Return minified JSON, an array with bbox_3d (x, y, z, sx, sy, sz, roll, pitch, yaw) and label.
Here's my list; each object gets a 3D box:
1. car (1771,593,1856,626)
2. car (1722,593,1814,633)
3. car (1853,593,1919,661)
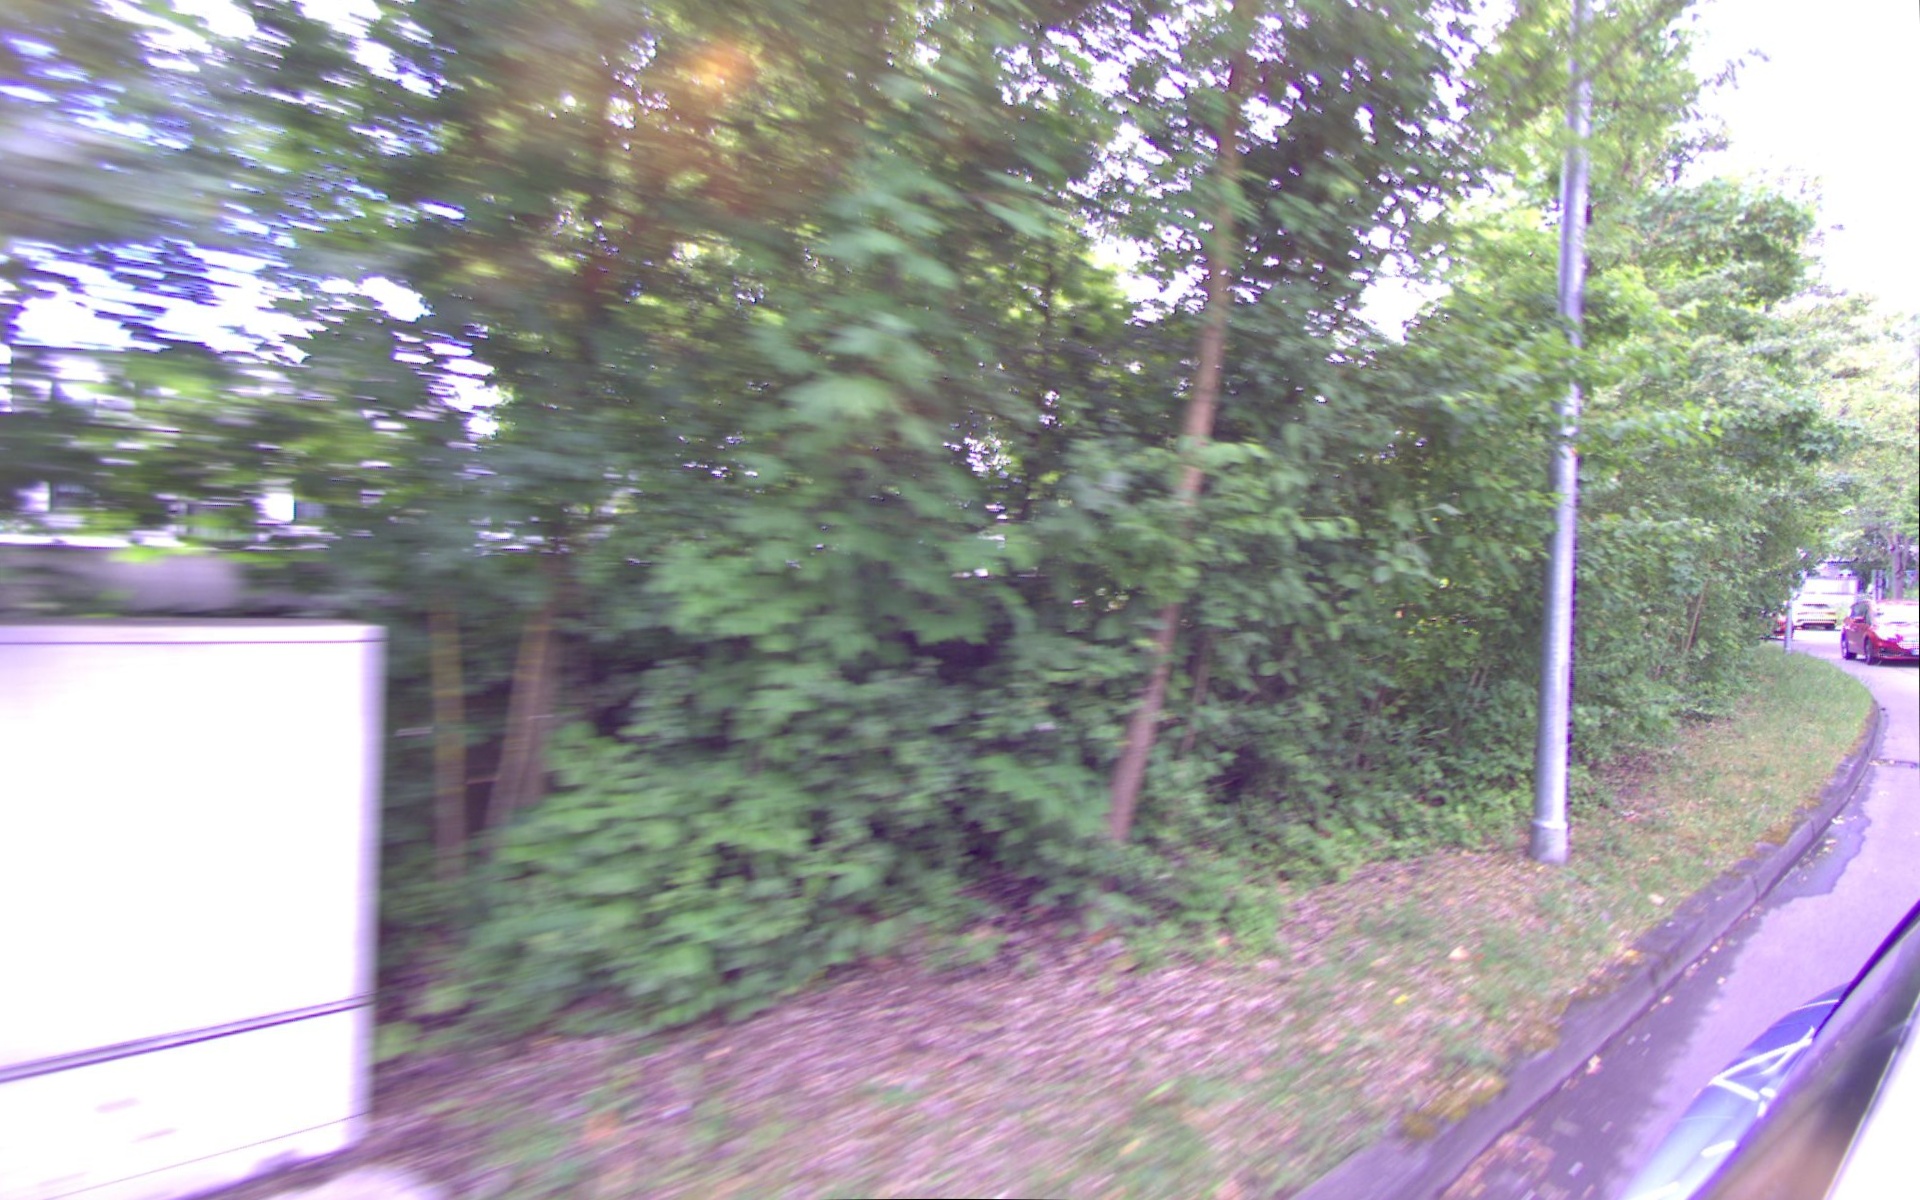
[{"bbox_3d":[41.477,0.413,49.281,1.830,1.510,3.974,1,1,20],"label":"car"},{"bbox_3d":[32.927,0.501,41.364,1.927,1.551,4.053,0,0,24],"label":"car"},{"bbox_3d":[24.495,0.638,25.895,1.934,1.578,4.302,0,1,34],"label":"car"}]
